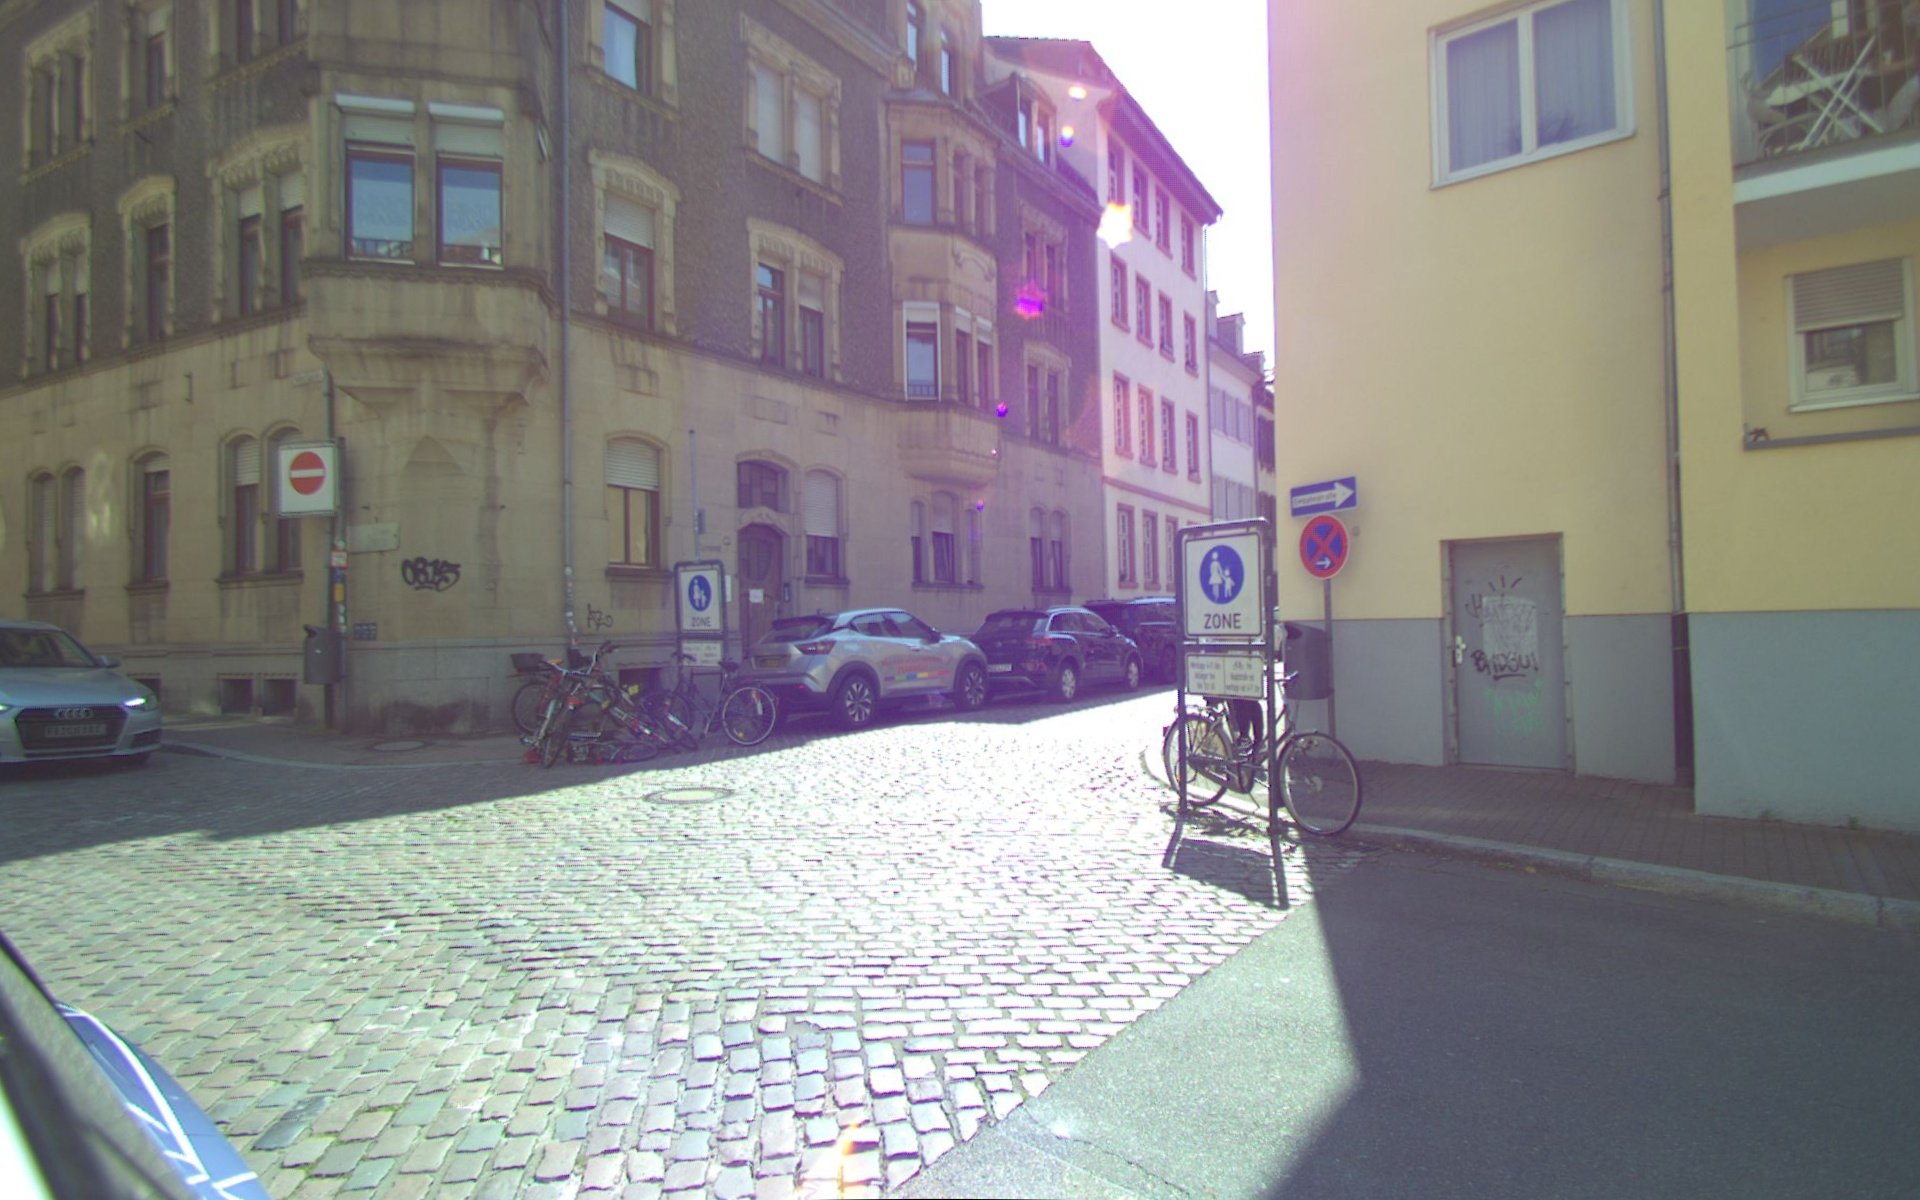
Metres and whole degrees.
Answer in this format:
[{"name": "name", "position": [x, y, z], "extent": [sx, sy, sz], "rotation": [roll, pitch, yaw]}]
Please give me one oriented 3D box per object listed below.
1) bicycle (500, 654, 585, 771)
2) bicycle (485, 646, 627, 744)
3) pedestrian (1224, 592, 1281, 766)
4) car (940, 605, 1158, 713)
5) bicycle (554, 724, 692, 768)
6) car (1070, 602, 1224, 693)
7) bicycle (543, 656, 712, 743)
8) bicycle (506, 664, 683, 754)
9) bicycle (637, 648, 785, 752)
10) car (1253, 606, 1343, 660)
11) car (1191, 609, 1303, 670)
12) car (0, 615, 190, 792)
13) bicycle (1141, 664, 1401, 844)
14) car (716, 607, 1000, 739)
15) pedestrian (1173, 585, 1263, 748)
[{"name": "bicycle", "position": [-4.354, 1.124, 10.505], "extent": [0.281, 1.094, 1.645], "rotation": [-4, 0, -40]}, {"name": "bicycle", "position": [-5.068, 1.165, 12.797], "extent": [0.495, 1.094, 1.623], "rotation": [3, 0, 35]}, {"name": "pedestrian", "position": [2.862, 0.750, 9.886], "extent": [0.489, 1.630, 0.653], "rotation": [-1, -1, 17]}, {"name": "car", "position": [1.619, 0.946, 17.208], "extent": [1.849, 1.556, 3.951], "rotation": [-5, -2, 36]}, {"name": "bicycle", "position": [-3.612, 1.543, 10.823], "extent": [1.061, 0.290, 1.126], "rotation": [1, -2, -40]}, {"name": "car", "position": [3.925, 0.901, 20.789], "extent": [1.566, 1.648, 3.812], "rotation": [-1, 0, 37]}, {"name": "bicycle", "position": [-3.756, 1.120, 11.459], "extent": [1.633, 1.080, 0.287], "rotation": [-1, 42, 25]}, {"name": "bicycle", "position": [-3.972, 1.182, 11.015], "extent": [1.633, 1.080, 0.287], "rotation": [-1, 42, 25]}, {"name": "bicycle", "position": [-2.843, 1.139, 11.548], "extent": [1.623, 1.094, 0.285], "rotation": [-4, -4, 9]}, {"name": "car", "position": [10.062, 0.923, 30.000], "extent": [1.565, 1.454, 3.601], "rotation": [-1, 0, 35]}, {"name": "car", "position": [7.729, 1.000, 27.010], "extent": [1.659, 1.454, 3.814], "rotation": [-1, 0, 36]}, {"name": "car", "position": [-9.839, 0.903, 10.098], "extent": [4.364, 1.503, 1.858], "rotation": [0, -1, 29]}, {"name": "bicycle", "position": [2.159, 1.033, 7.309], "extent": [0.385, 1.087, 1.914], "rotation": [0, -2, -37]}, {"name": "car", "position": [-1.268, 0.912, 14.070], "extent": [1.848, 1.556, 3.882], "rotation": [-2, -2, 35]}, {"name": "pedestrian", "position": [2.741, 0.695, 10.742], "extent": [0.686, 1.630, 0.750], "rotation": [-5, -3, 24]}]
